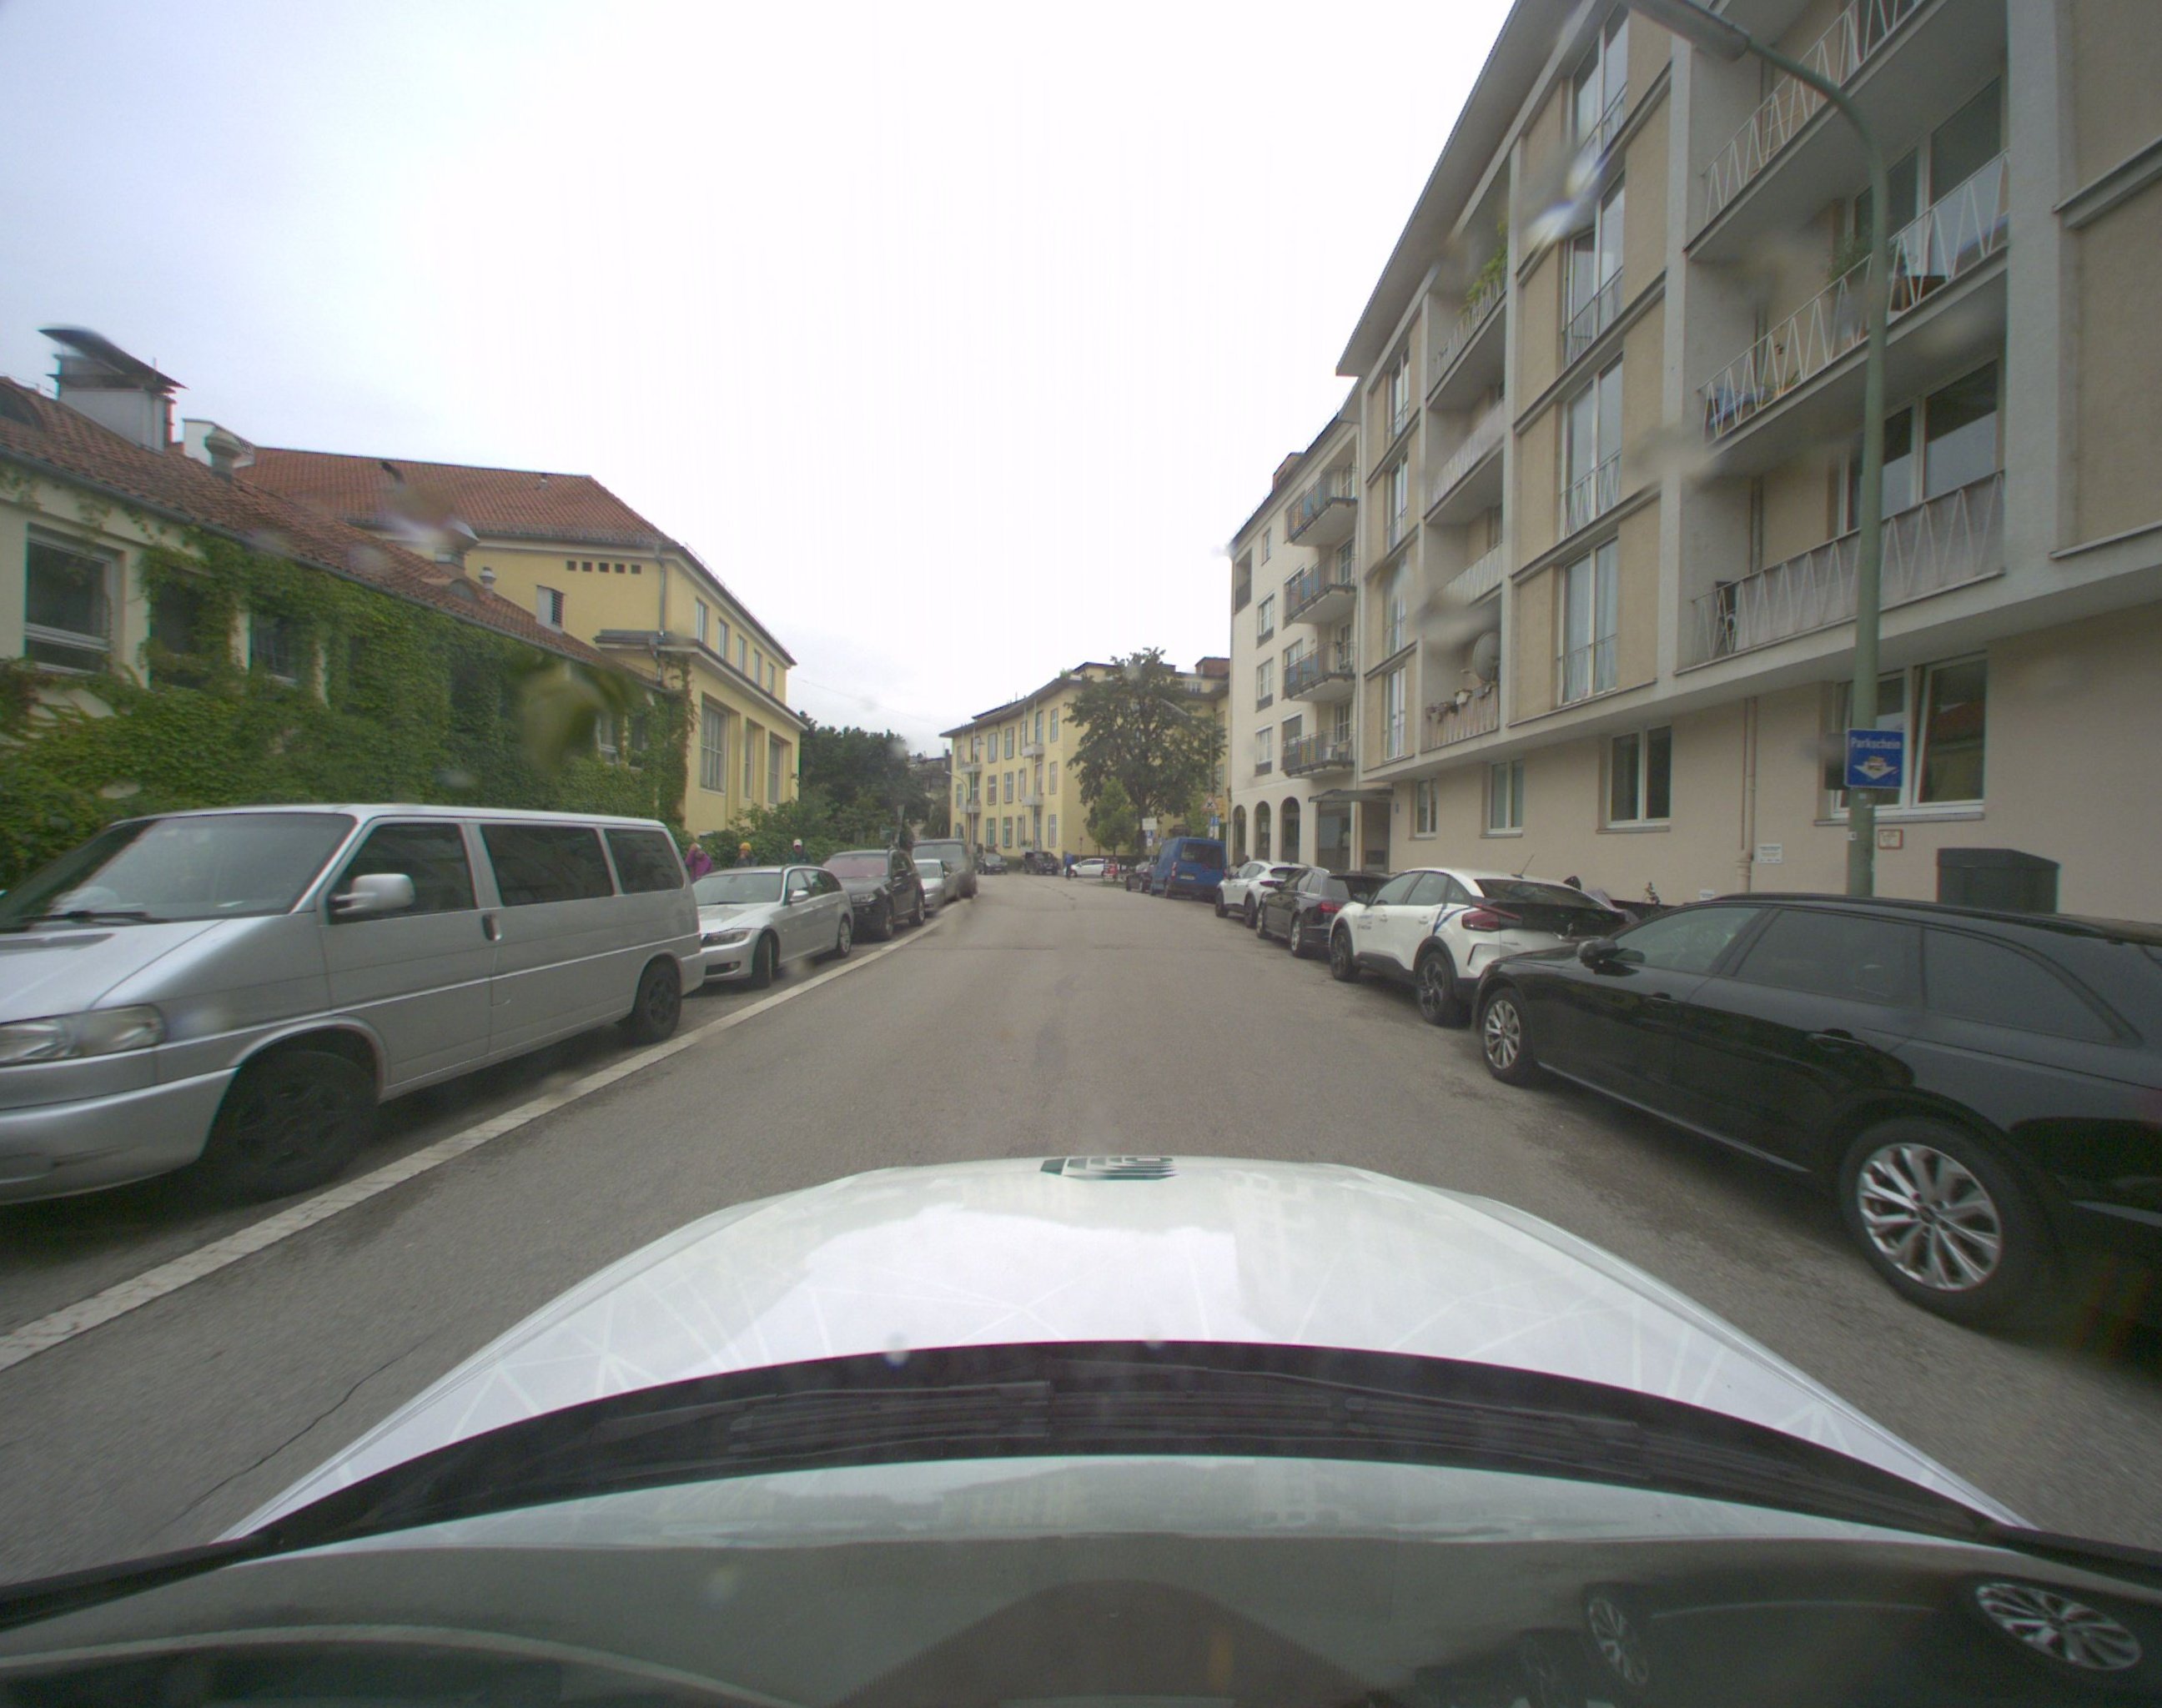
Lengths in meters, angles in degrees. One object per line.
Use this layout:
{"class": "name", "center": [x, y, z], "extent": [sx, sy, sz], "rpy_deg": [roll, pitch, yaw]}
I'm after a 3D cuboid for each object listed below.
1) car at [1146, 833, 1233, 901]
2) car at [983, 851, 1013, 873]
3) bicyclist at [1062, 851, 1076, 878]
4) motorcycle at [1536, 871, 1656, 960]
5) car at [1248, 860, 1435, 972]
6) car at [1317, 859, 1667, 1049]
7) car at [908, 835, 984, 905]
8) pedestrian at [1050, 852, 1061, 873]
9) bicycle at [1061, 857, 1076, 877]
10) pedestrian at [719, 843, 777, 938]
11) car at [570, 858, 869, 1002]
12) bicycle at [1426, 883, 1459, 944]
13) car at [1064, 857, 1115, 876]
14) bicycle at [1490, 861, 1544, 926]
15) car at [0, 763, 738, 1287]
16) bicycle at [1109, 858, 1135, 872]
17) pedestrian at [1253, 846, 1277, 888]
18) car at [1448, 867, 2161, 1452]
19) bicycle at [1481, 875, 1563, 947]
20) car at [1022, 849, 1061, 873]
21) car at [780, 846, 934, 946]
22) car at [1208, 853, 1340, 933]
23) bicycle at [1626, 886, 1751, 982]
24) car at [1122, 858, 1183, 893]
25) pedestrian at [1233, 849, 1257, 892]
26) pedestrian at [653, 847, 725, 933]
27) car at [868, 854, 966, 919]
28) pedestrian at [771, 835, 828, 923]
{"class": "car", "center": [4.031, 0.532, 31.229], "extent": [2.106, 2.214, 5.018], "rpy_deg": [5, -2, -5]}
{"class": "car", "center": [-6.827, 0.615, 66.798], "extent": [1.995, 1.719, 4.596], "rpy_deg": [0, 0, -12]}
{"class": "bicyclist", "center": [-0.815, 0.702, 54.411], "extent": [0.911, 1.764, 1.215], "rpy_deg": [1, 0, 0]}
{"class": "motorcycle", "center": [8.214, 0.936, 13.113], "extent": [0.633, 1.271, 2.041], "rpy_deg": [-1, 0, 0]}
{"class": "car", "center": [4.280, 0.915, 14.217], "extent": [1.766, 1.429, 4.695], "rpy_deg": [5, 0, 1]}
{"class": "car", "center": [4.147, 0.881, 9.081], "extent": [1.697, 1.468, 4.118], "rpy_deg": [5, 0, -1]}
{"class": "car", "center": [-4.279, 0.447, 26.479], "extent": [1.922, 1.979, 4.615], "rpy_deg": [-2, 1, -4]}
{"class": "pedestrian", "center": [-2.132, 0.707, 68.129], "extent": [0.847, 1.757, 0.952], "rpy_deg": [0, 0, -6]}
{"class": "bicycle", "center": [-0.807, 0.840, 54.411], "extent": [0.918, 1.252, 2.322], "rpy_deg": [1, 0, 1]}
{"class": "pedestrian", "center": [-5.982, 0.636, 14.670], "extent": [0.680, 1.652, 0.872], "rpy_deg": [1, 0, 0]}
{"class": "car", "center": [-4.411, 0.814, 10.864], "extent": [1.797, 1.377, 4.492], "rpy_deg": [-4, 0, 1]}
{"class": "bicycle", "center": [7.775, 1.253, 17.563], "extent": [0.394, 1.202, 1.573], "rpy_deg": [-3, -1, 16]}
{"class": "car", "center": [0.666, 0.940, 61.647], "extent": [3.696, 1.406, 1.756], "rpy_deg": [1, 0, 6]}
{"class": "bicycle", "center": [8.517, 0.754, 15.951], "extent": [0.391, 1.202, 1.344], "rpy_deg": [-3, -1, 6]}
{"class": "car", "center": [-4.297, 0.616, 5.269], "extent": [1.886, 1.798, 4.882], "rpy_deg": [-4, 0, 1]}
{"class": "bicycle", "center": [3.418, 0.922, 67.782], "extent": [2.155, 1.115, 0.642], "rpy_deg": [1, 0, 9]}
{"class": "pedestrian", "center": [7.134, 0.484, 31.578], "extent": [0.710, 1.605, 0.699], "rpy_deg": [-1, 0, -6]}
{"class": "car", "center": [3.756, 0.860, 4.125], "extent": [1.820, 1.381, 4.493], "rpy_deg": [3, 1, 2]}
{"class": "bicycle", "center": [7.962, 1.013, 14.711], "extent": [1.339, 1.202, 0.392], "rpy_deg": [-3, -1, -13]}
{"class": "car", "center": [-3.356, 0.551, 68.057], "extent": [1.880, 1.887, 4.587], "rpy_deg": [0, 0, -21]}
{"class": "car", "center": [-4.182, 0.697, 15.973], "extent": [1.697, 1.606, 4.490], "rpy_deg": [-3, 0, 0]}
{"class": "car", "center": [4.508, 0.840, 19.702], "extent": [1.773, 1.522, 4.297], "rpy_deg": [5, 1, -5]}
{"class": "bicycle", "center": [8.274, 1.047, 11.165], "extent": [0.512, 1.157, 1.601], "rpy_deg": [-1, 0, 0]}
{"class": "car", "center": [3.213, 0.932, 37.221], "extent": [1.715, 1.394, 3.986], "rpy_deg": [4, -1, -10]}
{"class": "pedestrian", "center": [6.351, 0.627, 31.594], "extent": [0.677, 1.628, 0.828], "rpy_deg": [0, -1, -6]}
{"class": "pedestrian", "center": [-7.088, 0.629, 14.760], "extent": [0.839, 1.494, 0.873], "rpy_deg": [1, 0, 2]}
{"class": "car", "center": [-4.155, 0.762, 21.212], "extent": [1.702, 1.365, 4.000], "rpy_deg": [-3, 1, -1]}
{"class": "pedestrian", "center": [-5.781, 0.497, 16.766], "extent": [0.840, 1.755, 0.872], "rpy_deg": [1, 0, 2]}
